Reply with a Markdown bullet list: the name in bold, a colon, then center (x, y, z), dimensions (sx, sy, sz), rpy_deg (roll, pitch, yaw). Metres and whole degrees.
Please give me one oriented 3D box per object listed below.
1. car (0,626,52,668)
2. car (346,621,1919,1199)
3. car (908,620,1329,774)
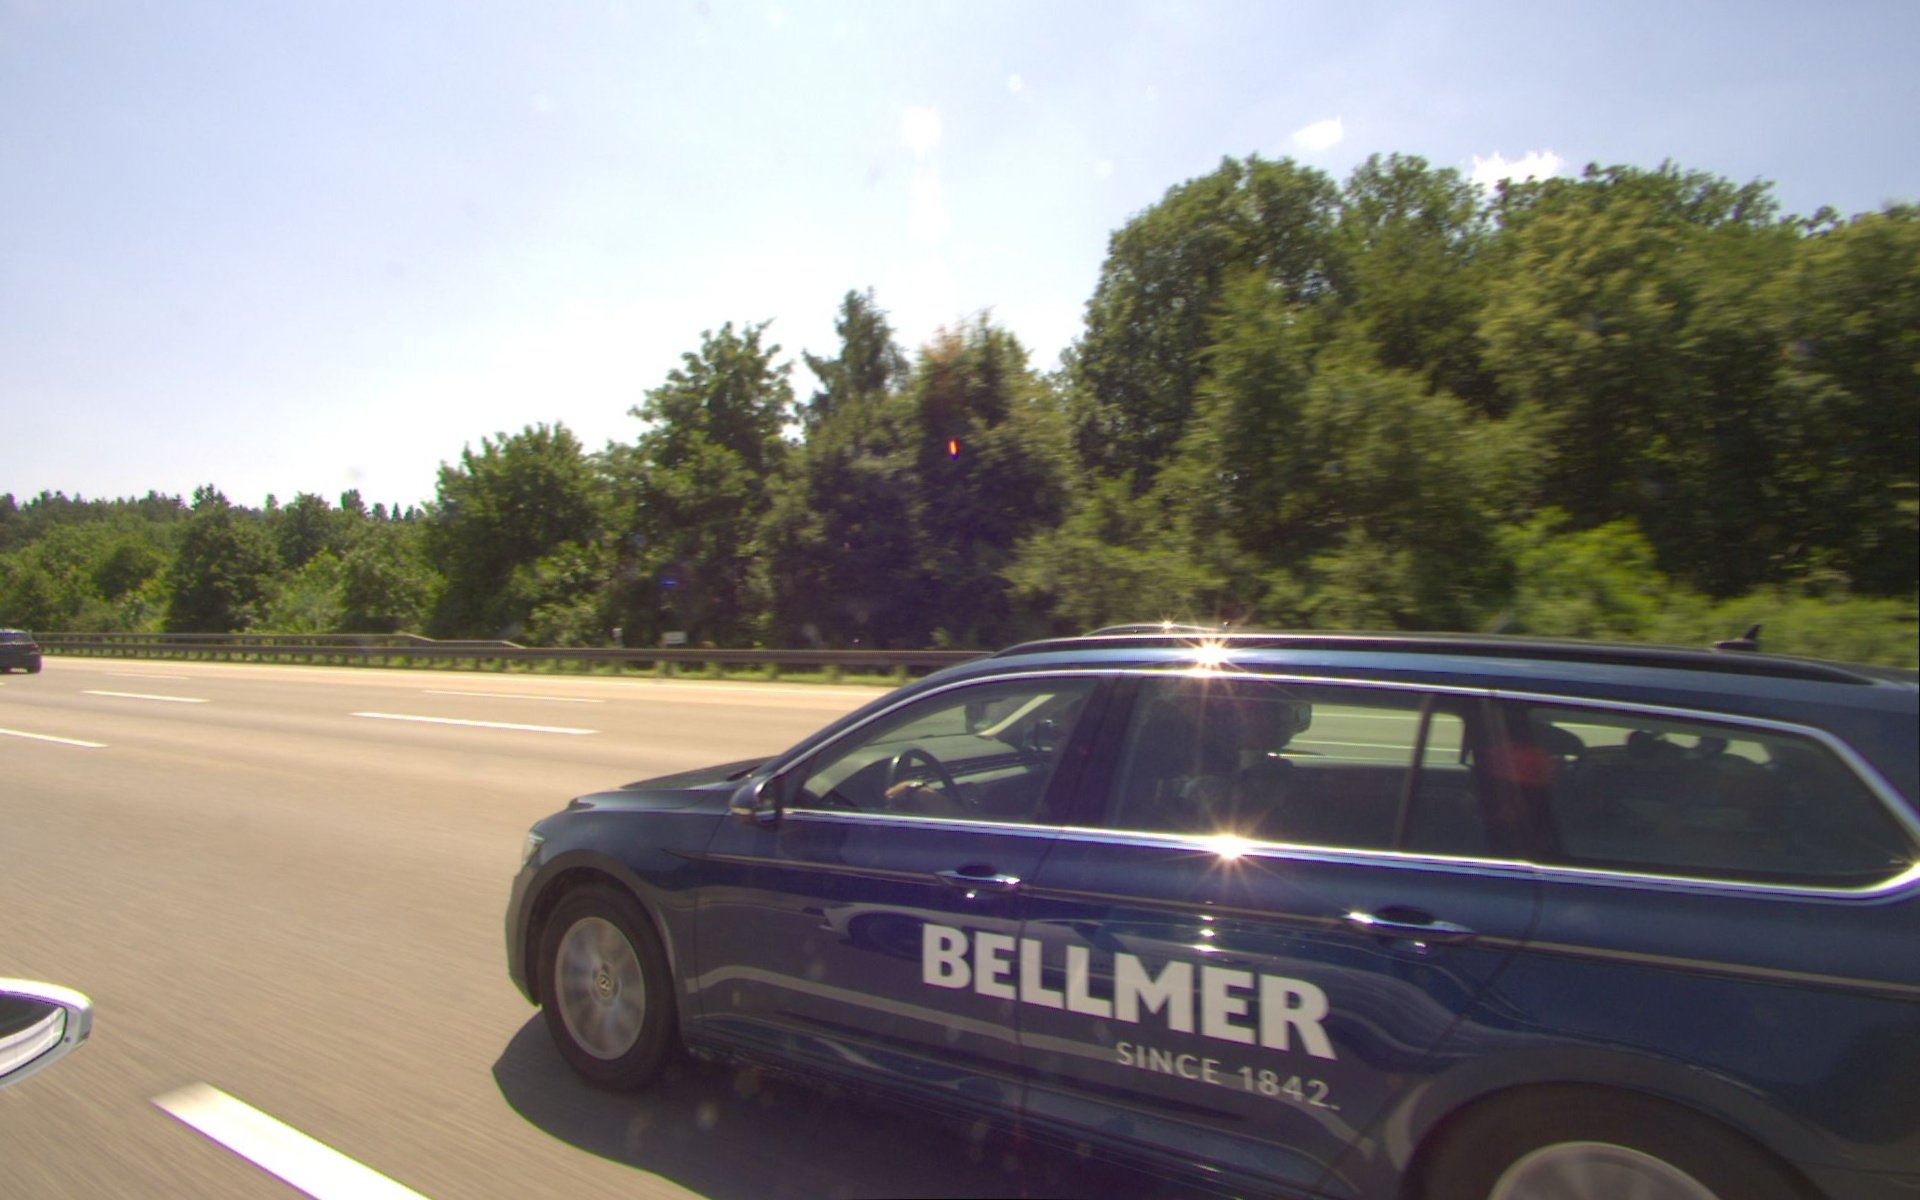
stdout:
- **car**: center (-31.137, 1.484, 32.323), dimensions (4.229, 1.290, 1.667), rpy_deg (-1, -1, 32)
- **car**: center (0.083, 0.820, 3.370), dimensions (4.891, 1.466, 1.726), rpy_deg (-1, 0, 33)
- **car**: center (1.734, 0.987, 11.621), dimensions (4.568, 1.457, 1.640), rpy_deg (0, -1, 32)
